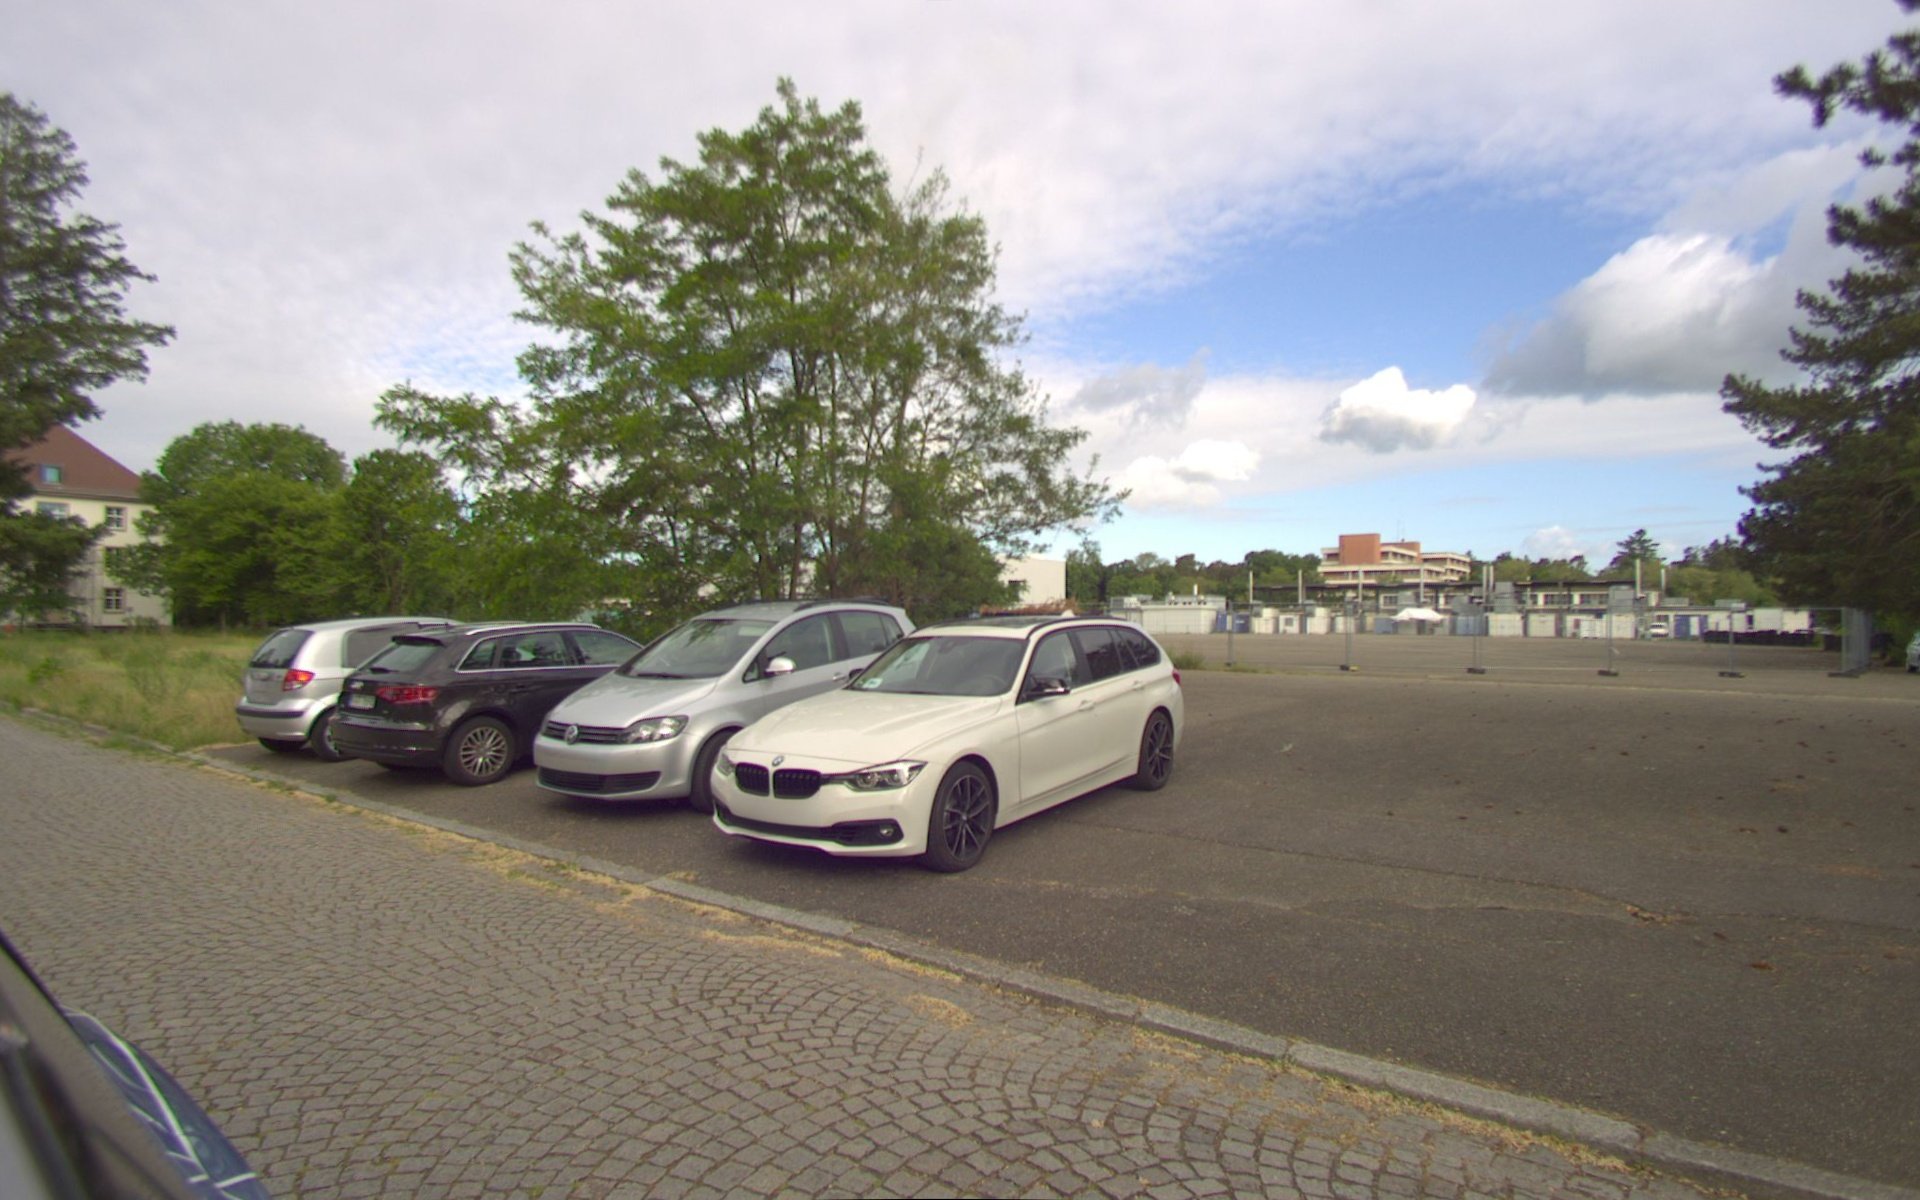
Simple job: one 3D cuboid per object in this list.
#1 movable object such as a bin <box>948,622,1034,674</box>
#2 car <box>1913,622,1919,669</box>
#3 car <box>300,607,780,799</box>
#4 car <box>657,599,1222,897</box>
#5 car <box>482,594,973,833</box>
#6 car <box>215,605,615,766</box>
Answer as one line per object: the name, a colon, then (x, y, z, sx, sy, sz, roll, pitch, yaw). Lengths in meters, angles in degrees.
movable object such as a bin: (0.747, 1.093, 23.226, 0.857, 1.134, 2.241, 0, -2, 36)
car: (30.507, 1.436, 30.775, 1.732, 1.443, 4.110, -1, 0, 37)
car: (-4.104, 0.870, 10.618, 1.719, 1.435, 4.395, -1, 1, 36)
car: (0.221, 0.793, 7.732, 1.863, 1.499, 4.697, -2, -1, 36)
car: (-1.810, 0.778, 9.272, 1.867, 1.610, 4.329, -1, 0, 32)
car: (-6.309, 0.871, 12.134, 1.581, 1.481, 3.916, -1, 1, 35)
